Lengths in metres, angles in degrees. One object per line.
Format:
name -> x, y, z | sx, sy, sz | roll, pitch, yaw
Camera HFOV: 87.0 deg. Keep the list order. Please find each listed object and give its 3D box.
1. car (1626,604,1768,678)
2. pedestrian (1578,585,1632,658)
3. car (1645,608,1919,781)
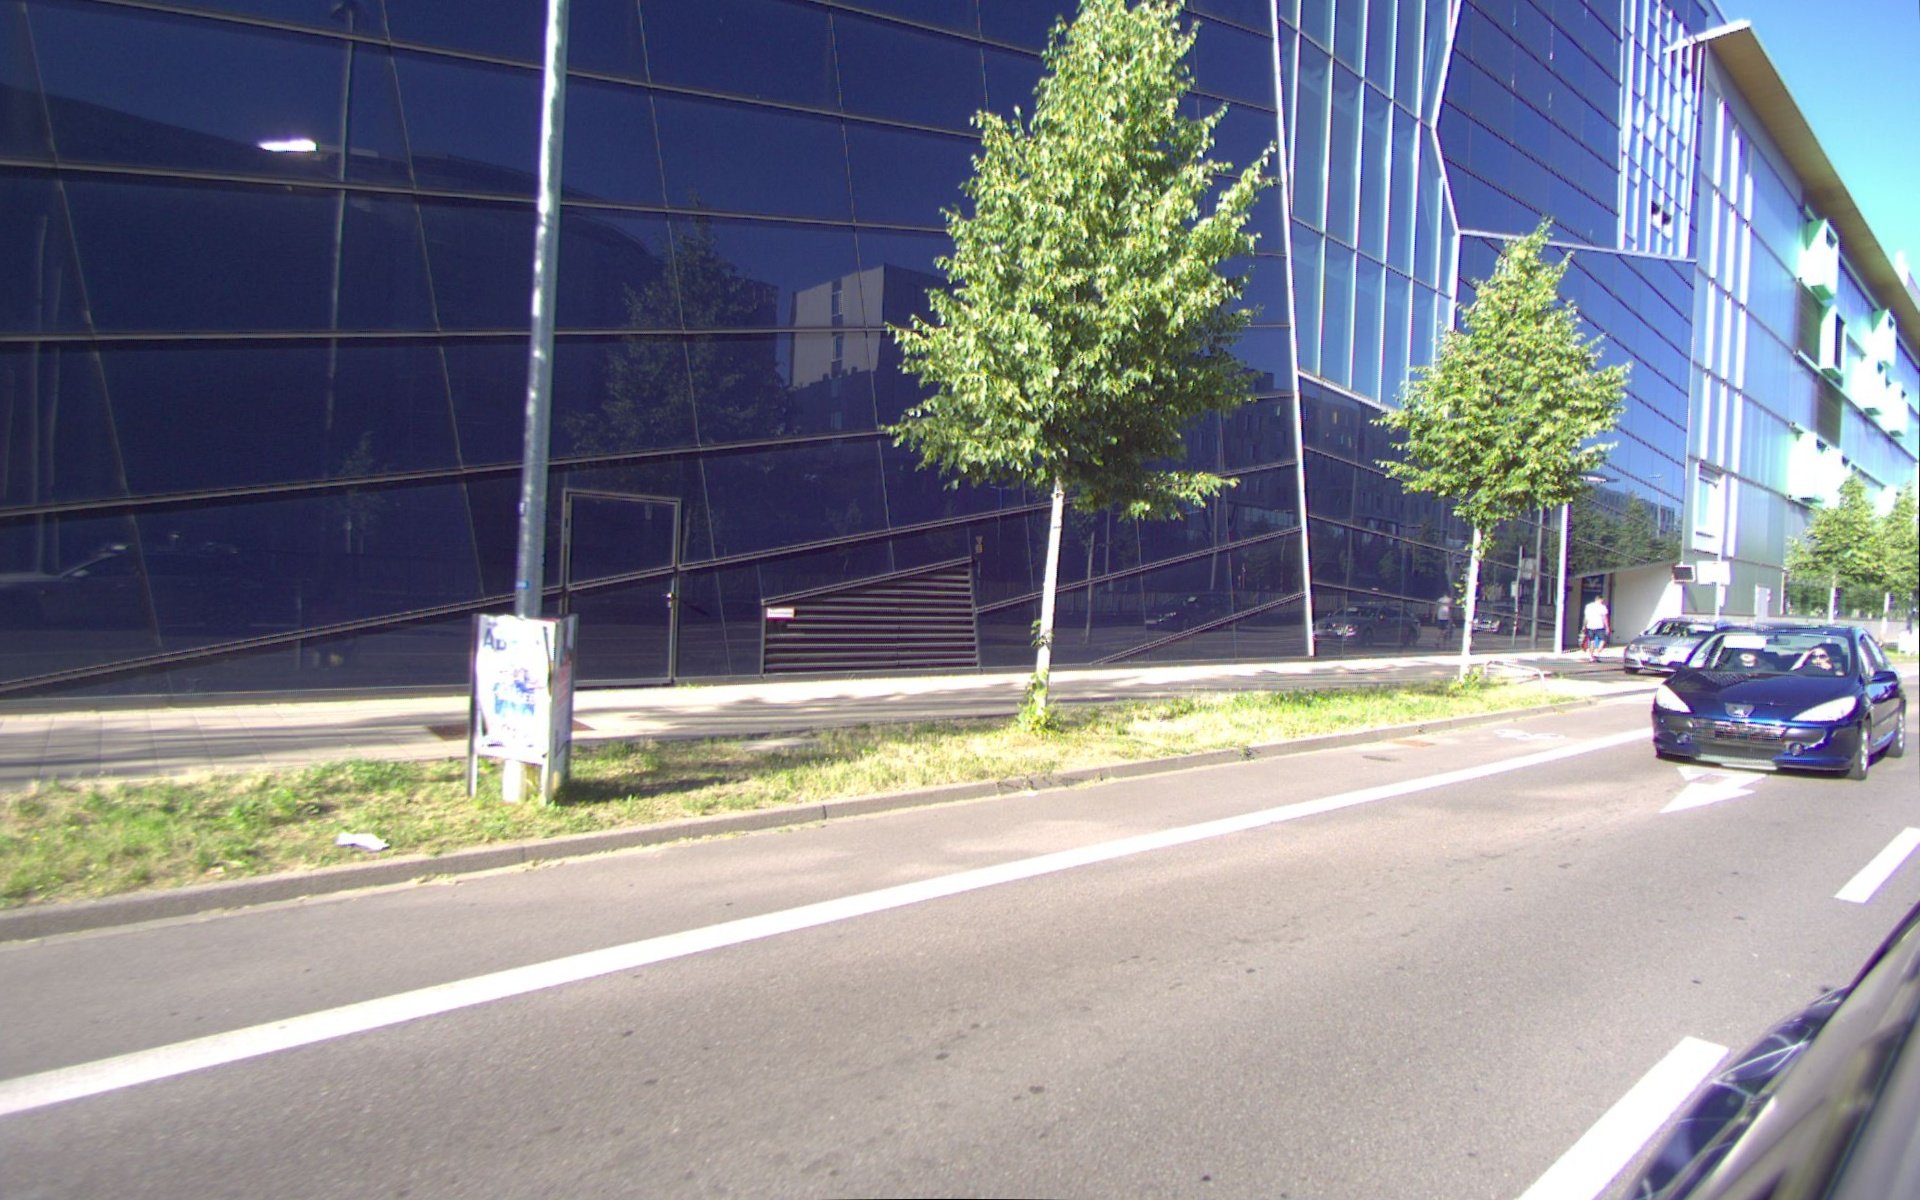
car -> 18.010, 0.956, 24.659 | 4.632, 1.516, 1.739 | 1, 3, -41
pedestrian -> 17.106, 0.566, 26.850 | 0.889, 1.846, 0.829 | 2, 4, -41
car -> 9.064, 0.885, 10.982 | 3.902, 1.497, 1.752 | 2, 0, -41
